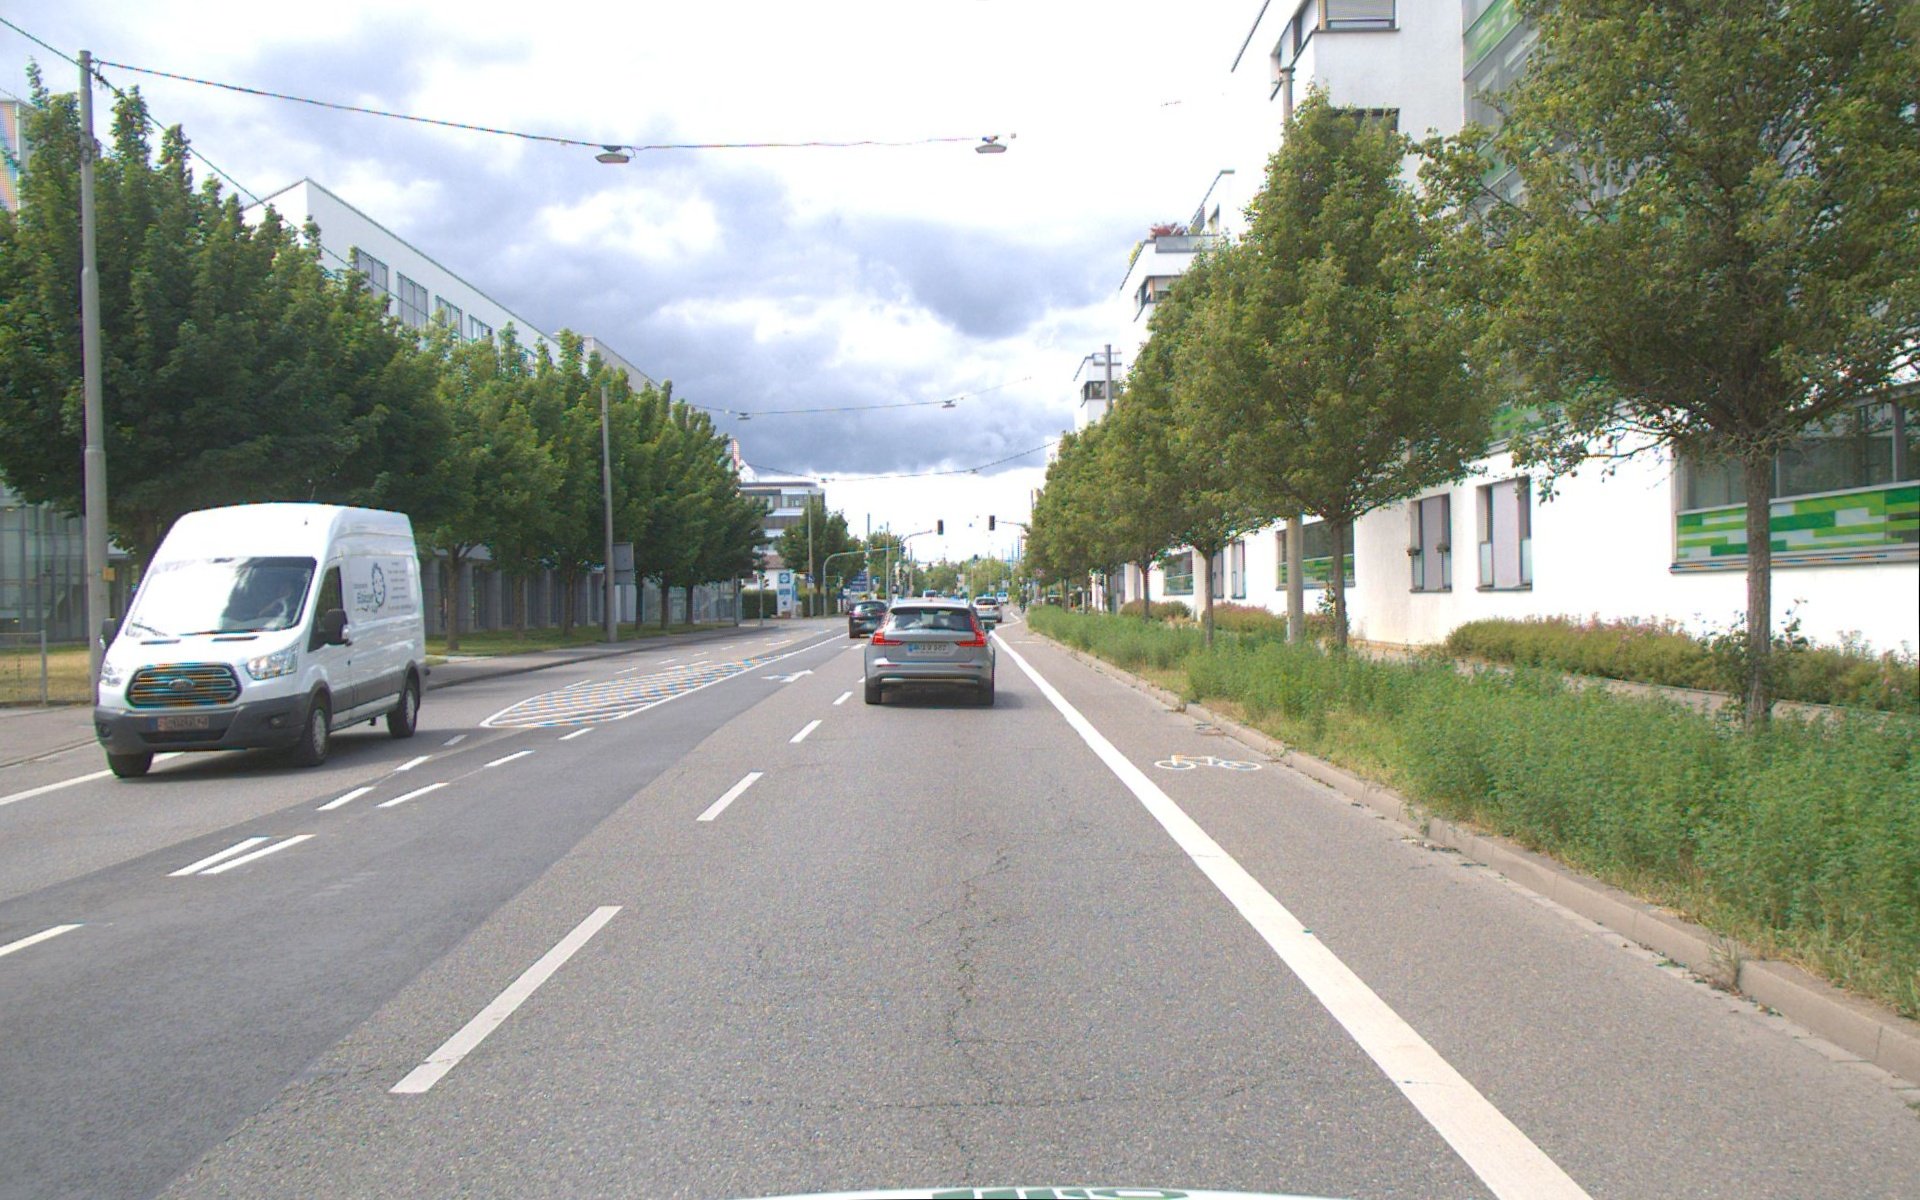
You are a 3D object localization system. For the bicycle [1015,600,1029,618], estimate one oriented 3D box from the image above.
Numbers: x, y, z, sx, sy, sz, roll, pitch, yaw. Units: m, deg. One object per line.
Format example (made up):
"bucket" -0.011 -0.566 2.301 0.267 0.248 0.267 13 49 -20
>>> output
"bicycle" 5.488 0.786 146.947 1.045 1.478 2.977 -3 0 -1

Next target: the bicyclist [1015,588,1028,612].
"bicyclist" 5.449 -0.012 146.898 0.993 2.048 1.131 -3 0 -1

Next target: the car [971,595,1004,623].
"car" 1.593 0.504 96.679 1.807 1.539 3.999 -1 0 -1

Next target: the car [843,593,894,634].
"car" -3.543 0.508 64.722 1.817 1.539 3.999 -1 0 -1

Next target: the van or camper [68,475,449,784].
"van or camper" -7.421 0.257 18.331 1.955 2.781 6.047 -2 0 -4

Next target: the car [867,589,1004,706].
"car" -0.384 0.623 24.229 1.817 1.539 3.999 -1 0 -2
